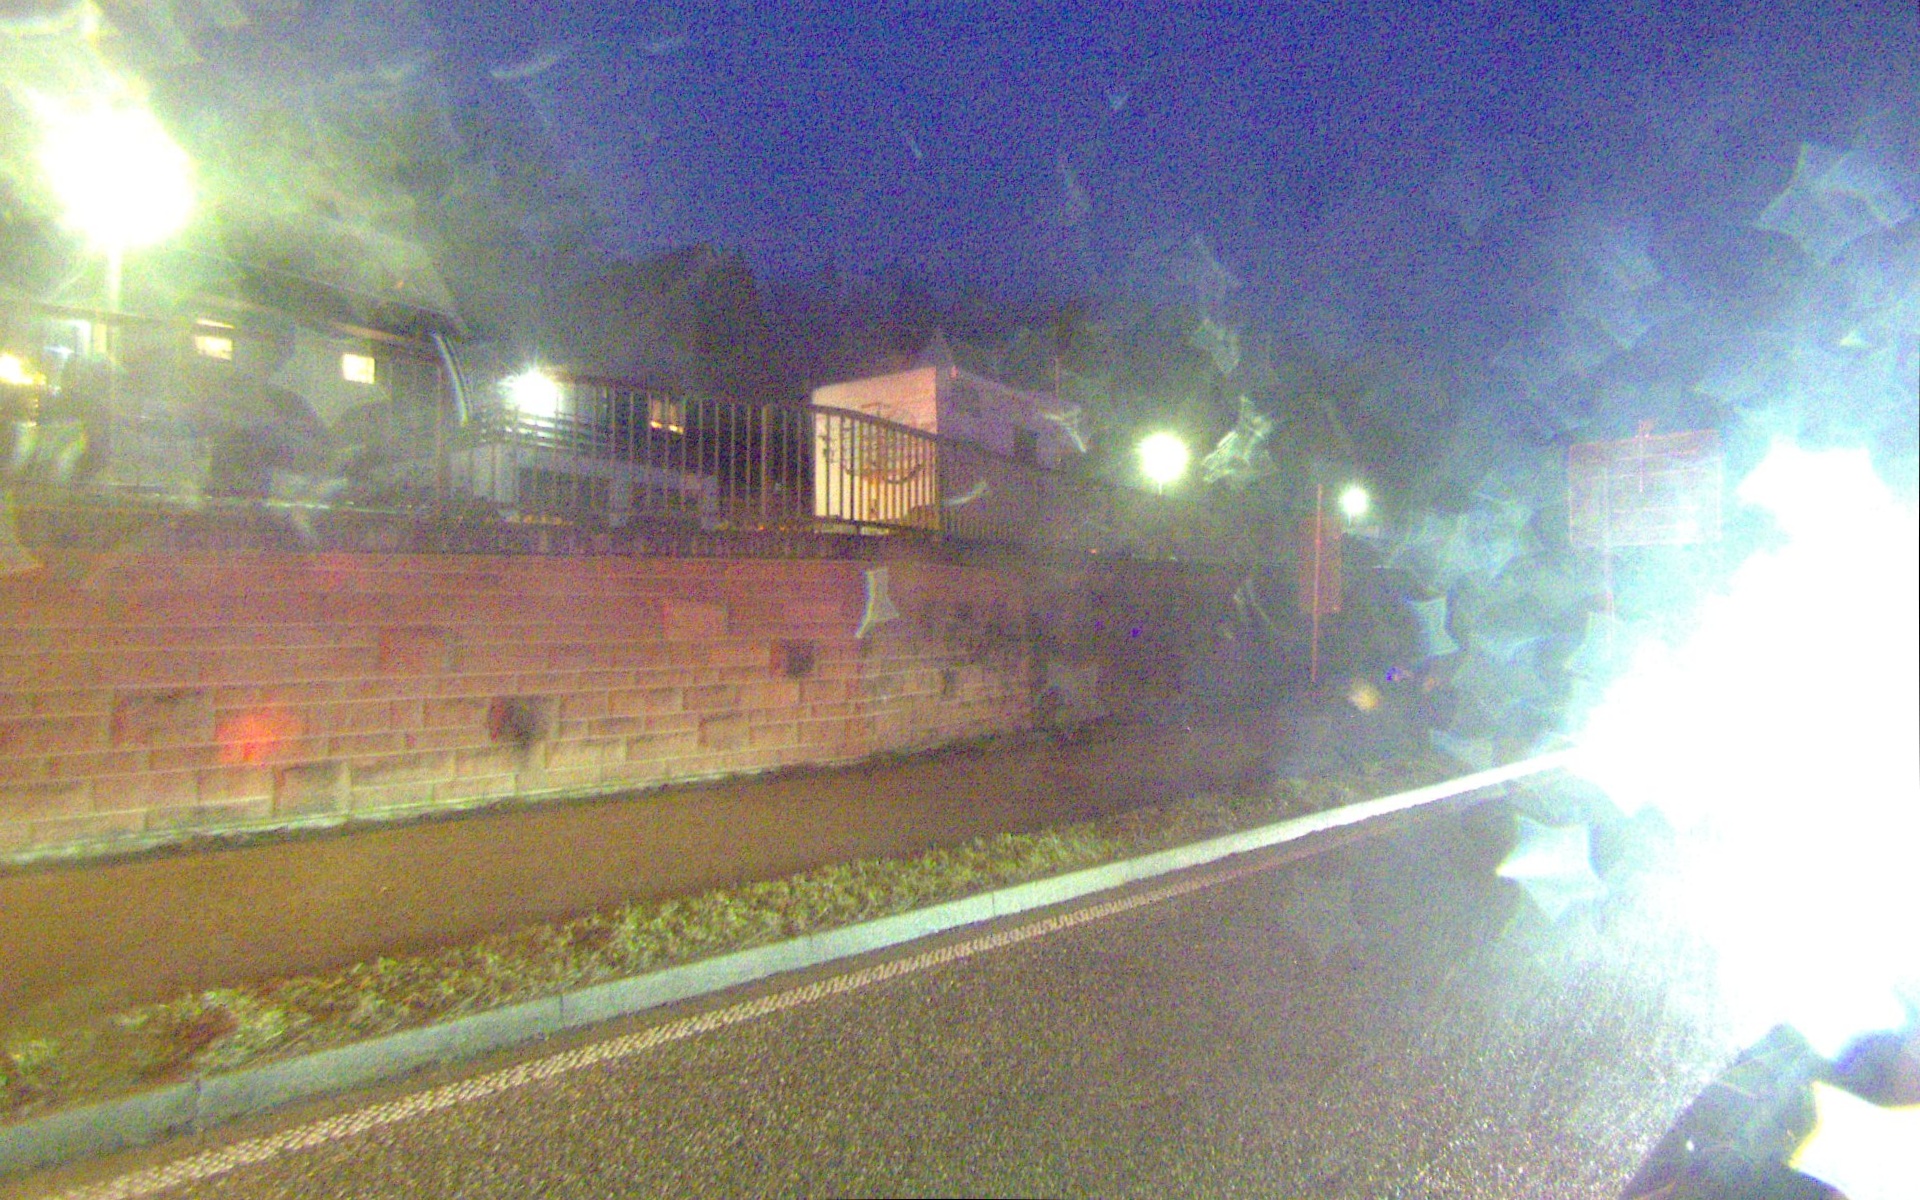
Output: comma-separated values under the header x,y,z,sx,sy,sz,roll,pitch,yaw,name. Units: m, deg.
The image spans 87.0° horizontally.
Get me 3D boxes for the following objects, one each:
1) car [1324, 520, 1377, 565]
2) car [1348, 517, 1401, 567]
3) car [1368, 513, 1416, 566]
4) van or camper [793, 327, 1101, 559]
x,y,z,sx,sy,sz,roll,pitch,yaw,name
19.251,-2.775,49.808,1.721,2.039,3.658,0,0,32,car
22.216,-3.036,54.206,1.922,2.451,4.206,0,0,32,car
25.083,-3.451,58.731,1.922,2.810,4.206,0,0,32,car
0.071,-2.161,16.228,2.394,2.828,5.712,0,0,30,van or camper
